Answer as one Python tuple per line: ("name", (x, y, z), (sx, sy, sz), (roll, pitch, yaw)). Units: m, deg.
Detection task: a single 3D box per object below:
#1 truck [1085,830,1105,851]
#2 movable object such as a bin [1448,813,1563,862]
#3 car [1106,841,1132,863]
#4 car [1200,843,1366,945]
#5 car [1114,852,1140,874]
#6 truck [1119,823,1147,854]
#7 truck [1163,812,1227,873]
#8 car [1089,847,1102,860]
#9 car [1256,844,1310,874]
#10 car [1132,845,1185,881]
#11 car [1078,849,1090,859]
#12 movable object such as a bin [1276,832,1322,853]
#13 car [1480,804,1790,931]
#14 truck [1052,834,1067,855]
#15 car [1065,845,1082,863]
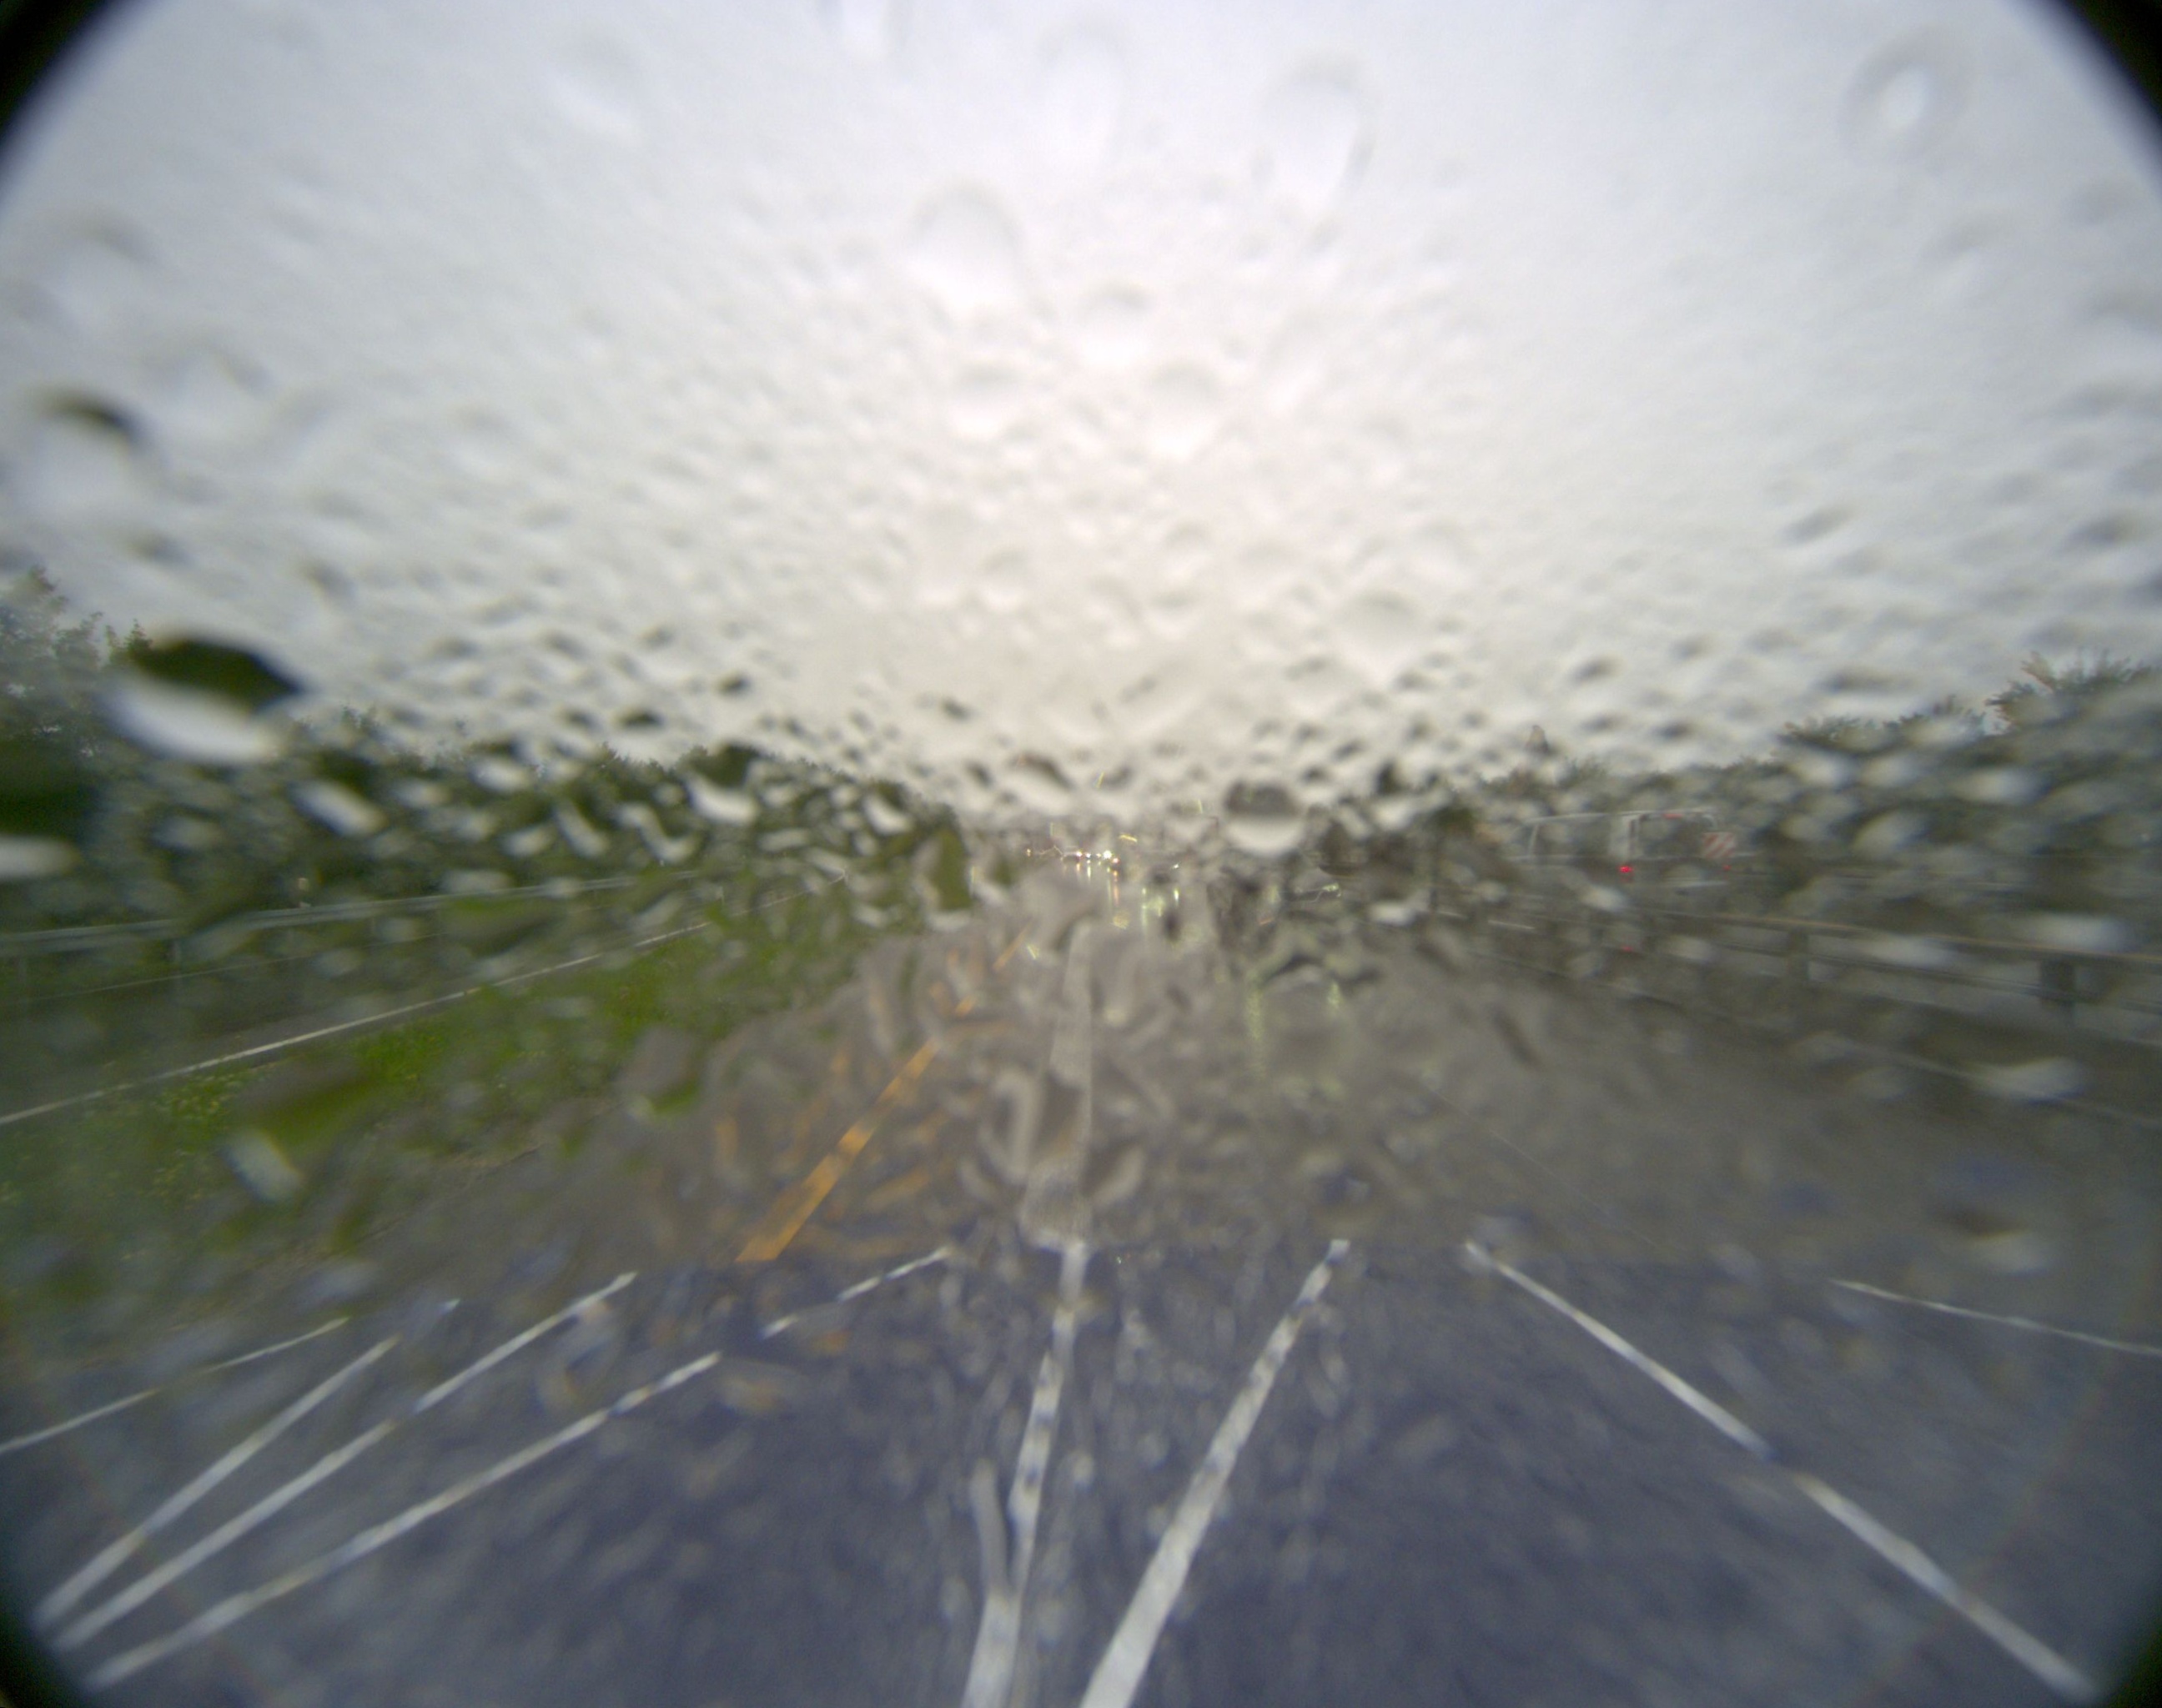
("truck", (3.320, -3.214, 186.041), (3.593, 4.809, 15.978), (-2, 1, -3))
("movable object such as a bin", (26.726, -1.019, 48.262), (3.774, 2.782, 6.329), (-2, 1, 2))
("car", (3.726, -0.194, 75.499), (2.211, 2.002, 5.563), (-2, 1, 0))
("car", (3.587, 0.613, 14.392), (1.998, 1.576, 4.413), (-2, 1, 1))
("car", (3.618, 0.706, 59.573), (1.977, 1.586, 4.311), (-1, -1, 4))
("truck", (8.475, -2.510, 126.033), (3.283, 4.809, 15.982), (-2, 1, -1))
("truck", (10.129, -1.045, 69.849), (3.283, 4.809, 15.982), (-2, 1, 0))
("car", (2.083, -0.137, 108.667), (1.695, 1.740, 3.999), (-2, 1, 1))
("car", (10.535, 0.230, 39.881), (1.705, 1.420, 3.832), (-2, 1, -1))
("car", (3.523, 0.385, 35.404), (1.998, 1.489, 4.630), (-2, 1, 1))
("car", (0.519, 0.061, 130.181), (1.845, 1.586, 3.999), (-2, 1, 1))
("movable object such as a bin", (25.655, -1.330, 89.659), (3.448, 2.281, 5.098), (-2, 1, -5))
("car", (9.435, 0.166, 13.636), (1.896, 1.796, 5.054), (-2, 1, 1))
("truck", (-4.177, -1.884, 150.992), (2.484, 4.061, 8.703), (-2, 1, 1))
("car", (-0.882, -0.025, 92.073), (1.881, 2.002, 3.999), (-2, 1, 1))
